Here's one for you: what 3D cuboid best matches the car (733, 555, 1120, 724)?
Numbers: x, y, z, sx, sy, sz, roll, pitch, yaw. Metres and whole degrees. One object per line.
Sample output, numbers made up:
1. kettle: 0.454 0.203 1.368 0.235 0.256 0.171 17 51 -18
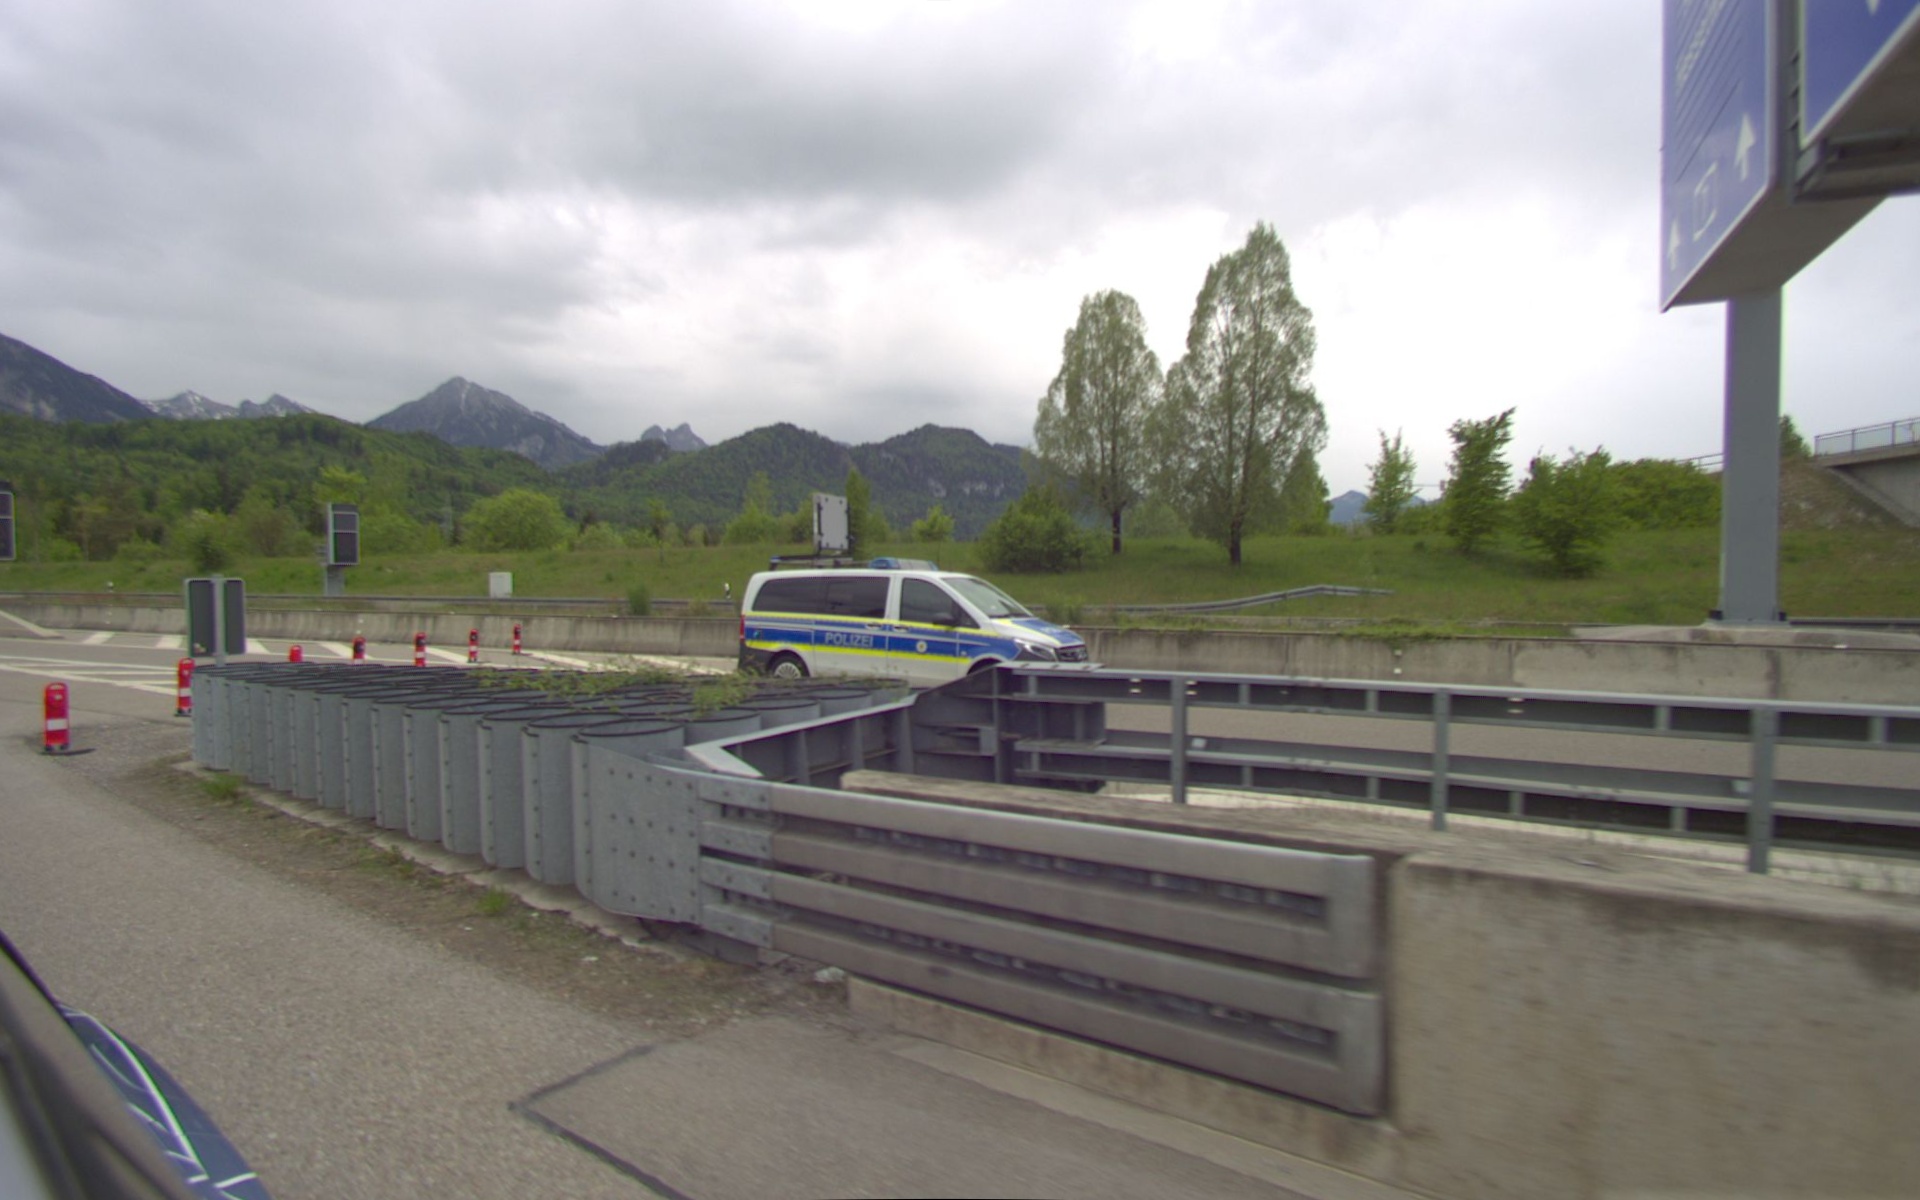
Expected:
1. car: -0.502 0.433 14.305 5.026 2.029 2.272 1 1 28
